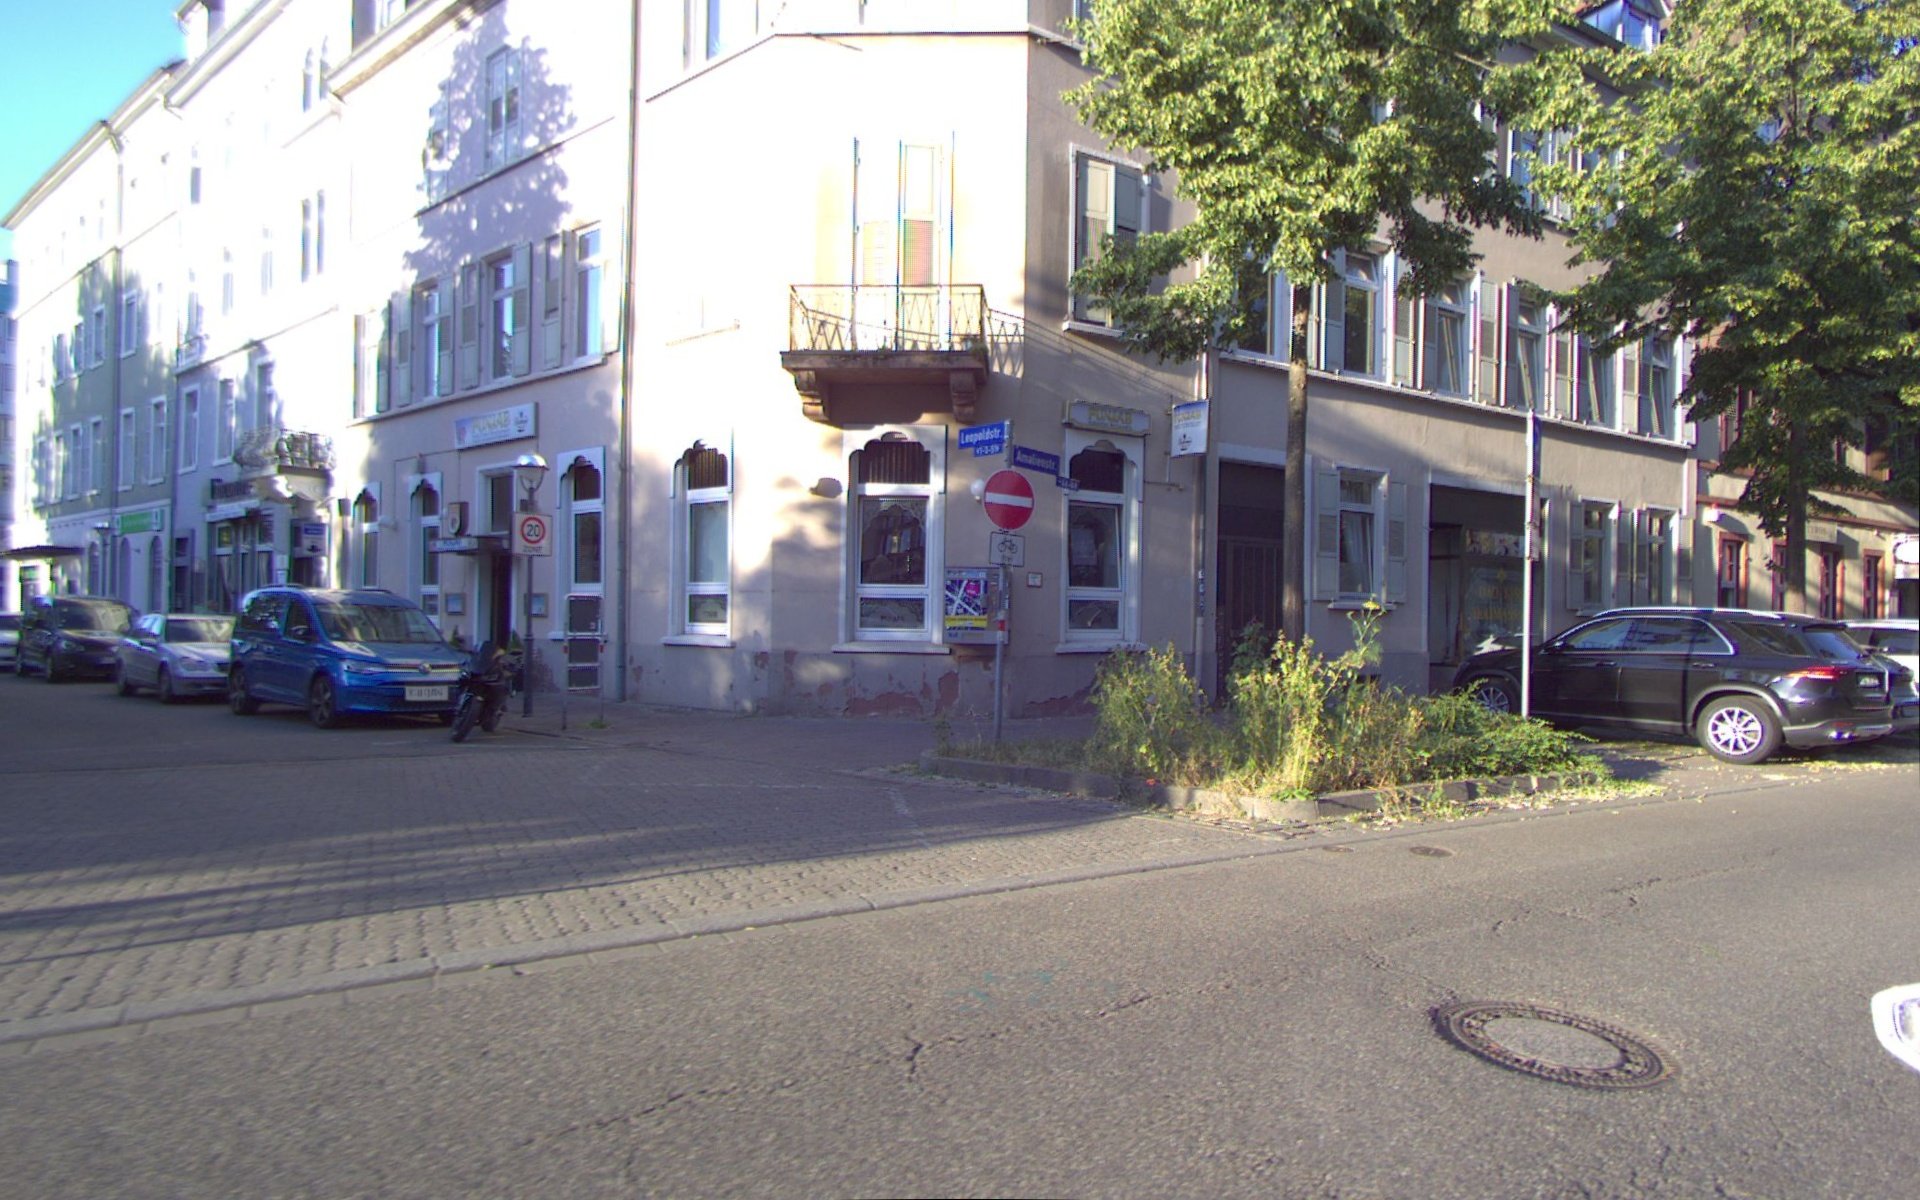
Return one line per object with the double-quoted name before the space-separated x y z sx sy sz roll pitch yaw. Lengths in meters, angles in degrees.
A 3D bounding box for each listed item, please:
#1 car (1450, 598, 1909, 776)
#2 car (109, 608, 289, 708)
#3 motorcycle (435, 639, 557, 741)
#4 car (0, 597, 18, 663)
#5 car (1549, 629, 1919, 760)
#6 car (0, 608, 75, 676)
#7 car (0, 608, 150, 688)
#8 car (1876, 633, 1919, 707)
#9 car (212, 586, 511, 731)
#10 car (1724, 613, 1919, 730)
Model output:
"car" 9.068 0.955 13.112 2.009 1.859 4.429 2 -1 -29
"car" -12.859 0.892 16.903 3.778 1.430 1.534 1 0 39
"motorcycle" -5.583 1.045 12.228 0.733 1.044 2.096 1 0 -7
"car" -27.878 0.790 27.977 3.893 1.751 1.870 1 0 39
"car" 11.060 1.231 14.531 1.809 1.463 4.014 1 0 -29
"car" -22.943 0.971 24.378 3.560 1.501 1.605 1 0 39
"car" -18.845 0.953 21.273 3.920 1.459 1.831 1 0 39
"car" 21.774 1.546 20.484 1.976 1.527 4.156 2 0 -29
"car" -8.335 0.688 13.866 4.360 1.699 1.954 1 0 35
"car" 15.063 1.119 16.197 1.811 1.731 3.971 1 0 -29
